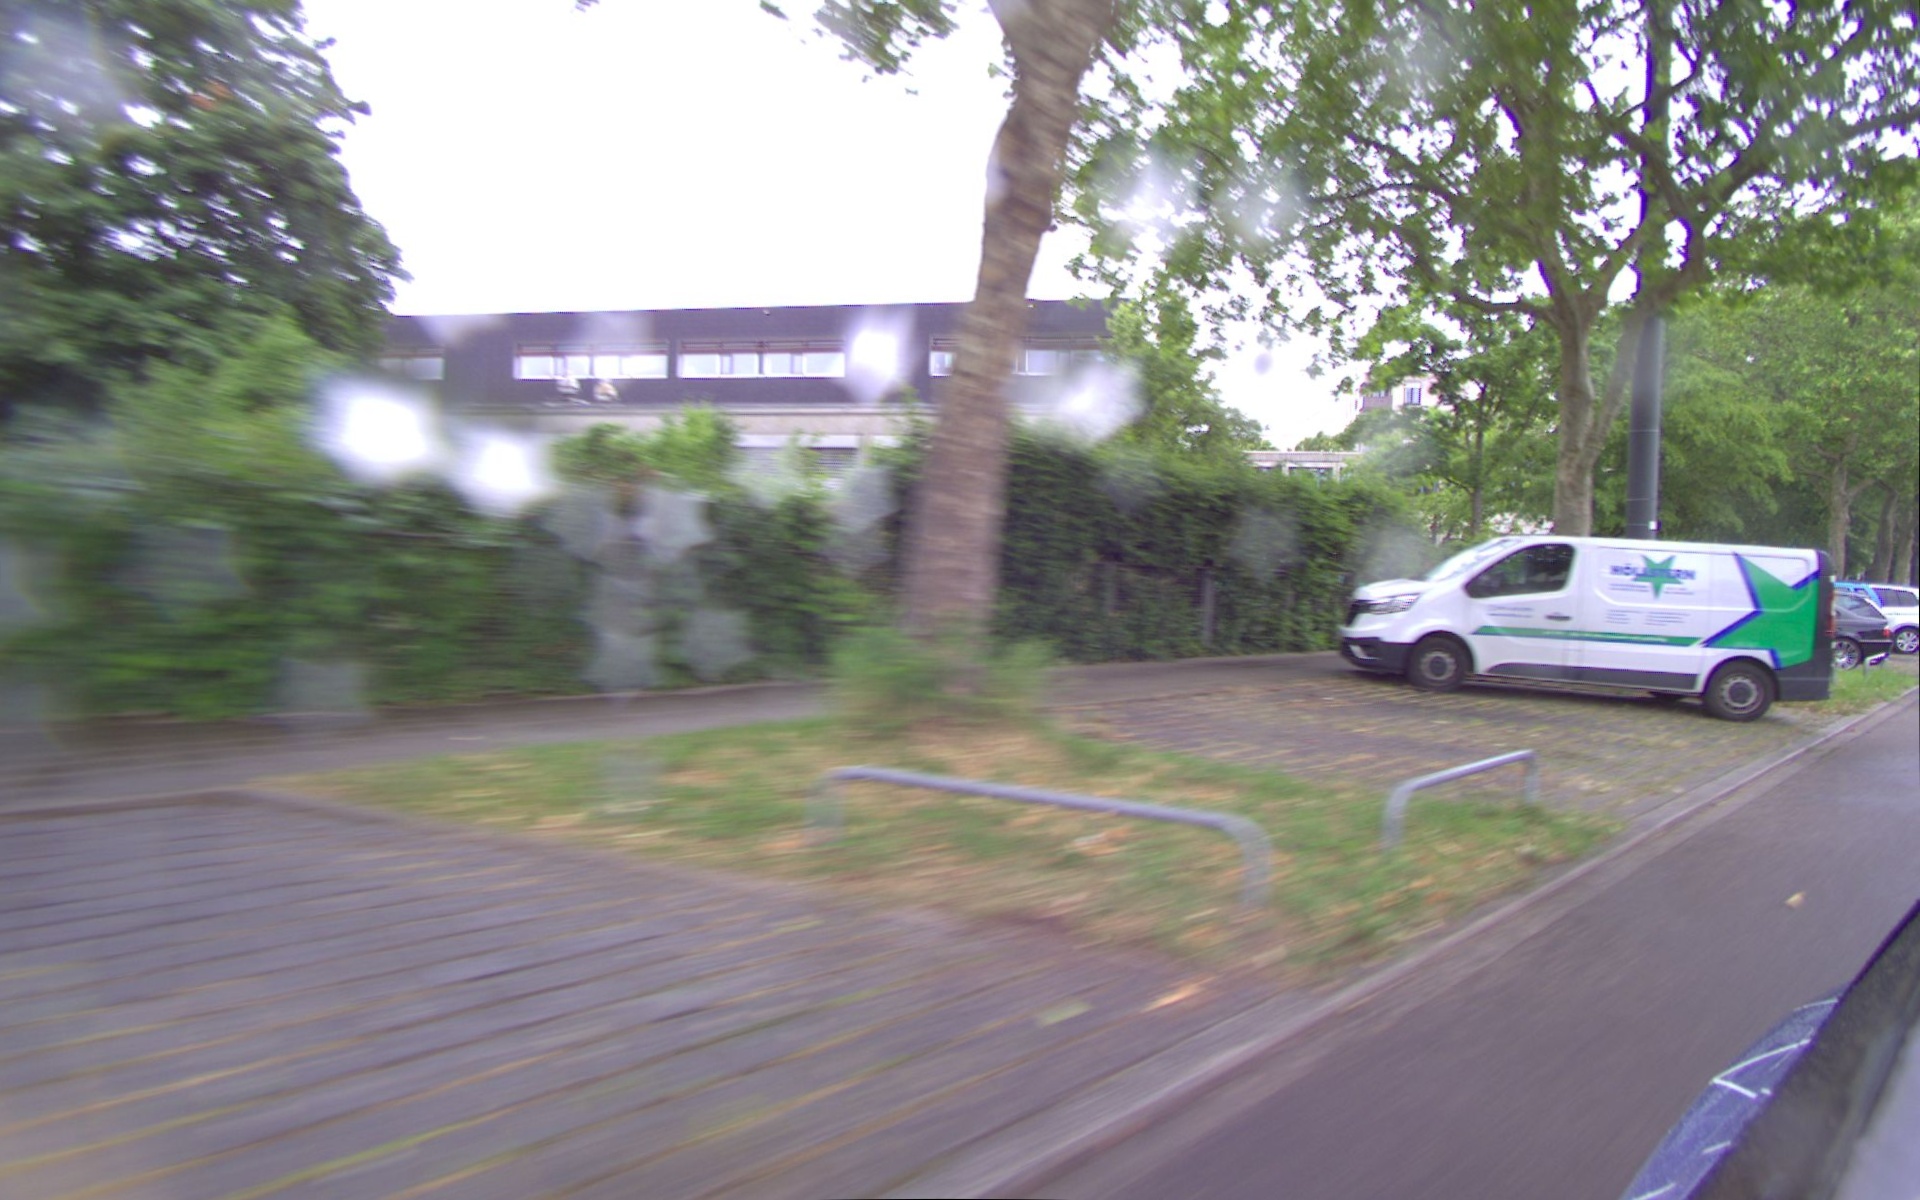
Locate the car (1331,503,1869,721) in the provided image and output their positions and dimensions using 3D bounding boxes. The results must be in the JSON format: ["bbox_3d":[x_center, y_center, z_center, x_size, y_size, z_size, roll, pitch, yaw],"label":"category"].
[{"bbox_3d":[7.309,0.041,12.243,4.958,2.038,1.992,4,2,14],"label":"car"}]

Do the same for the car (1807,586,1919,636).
[{"bbox_3d":[31.699,0.421,34.364,4.002,1.435,1.737,4,4,13],"label":"car"}]

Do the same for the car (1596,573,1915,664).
[{"bbox_3d":[14.504,0.288,18.692,4.236,1.401,1.737,2,2,10],"label":"car"}]

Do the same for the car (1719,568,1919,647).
[{"bbox_3d":[21.396,0.154,24.824,3.985,1.660,1.650,3,3,11],"label":"car"}]

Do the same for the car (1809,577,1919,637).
[{"bbox_3d":[26.345,0.203,28.796,2.870,1.483,1.594,5,4,20],"label":"car"}]

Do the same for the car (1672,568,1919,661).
[{"bbox_3d":[17.074,0.237,20.841,3.353,1.536,1.844,4,4,13],"label":"car"}]

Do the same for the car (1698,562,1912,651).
[{"bbox_3d":[19.151,0.101,23.100,3.229,1.691,1.586,4,4,15],"label":"car"}]

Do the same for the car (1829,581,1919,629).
[{"bbox_3d":[34.108,0.221,36.406,3.753,1.551,1.874,4,3,16],"label":"car"}]
